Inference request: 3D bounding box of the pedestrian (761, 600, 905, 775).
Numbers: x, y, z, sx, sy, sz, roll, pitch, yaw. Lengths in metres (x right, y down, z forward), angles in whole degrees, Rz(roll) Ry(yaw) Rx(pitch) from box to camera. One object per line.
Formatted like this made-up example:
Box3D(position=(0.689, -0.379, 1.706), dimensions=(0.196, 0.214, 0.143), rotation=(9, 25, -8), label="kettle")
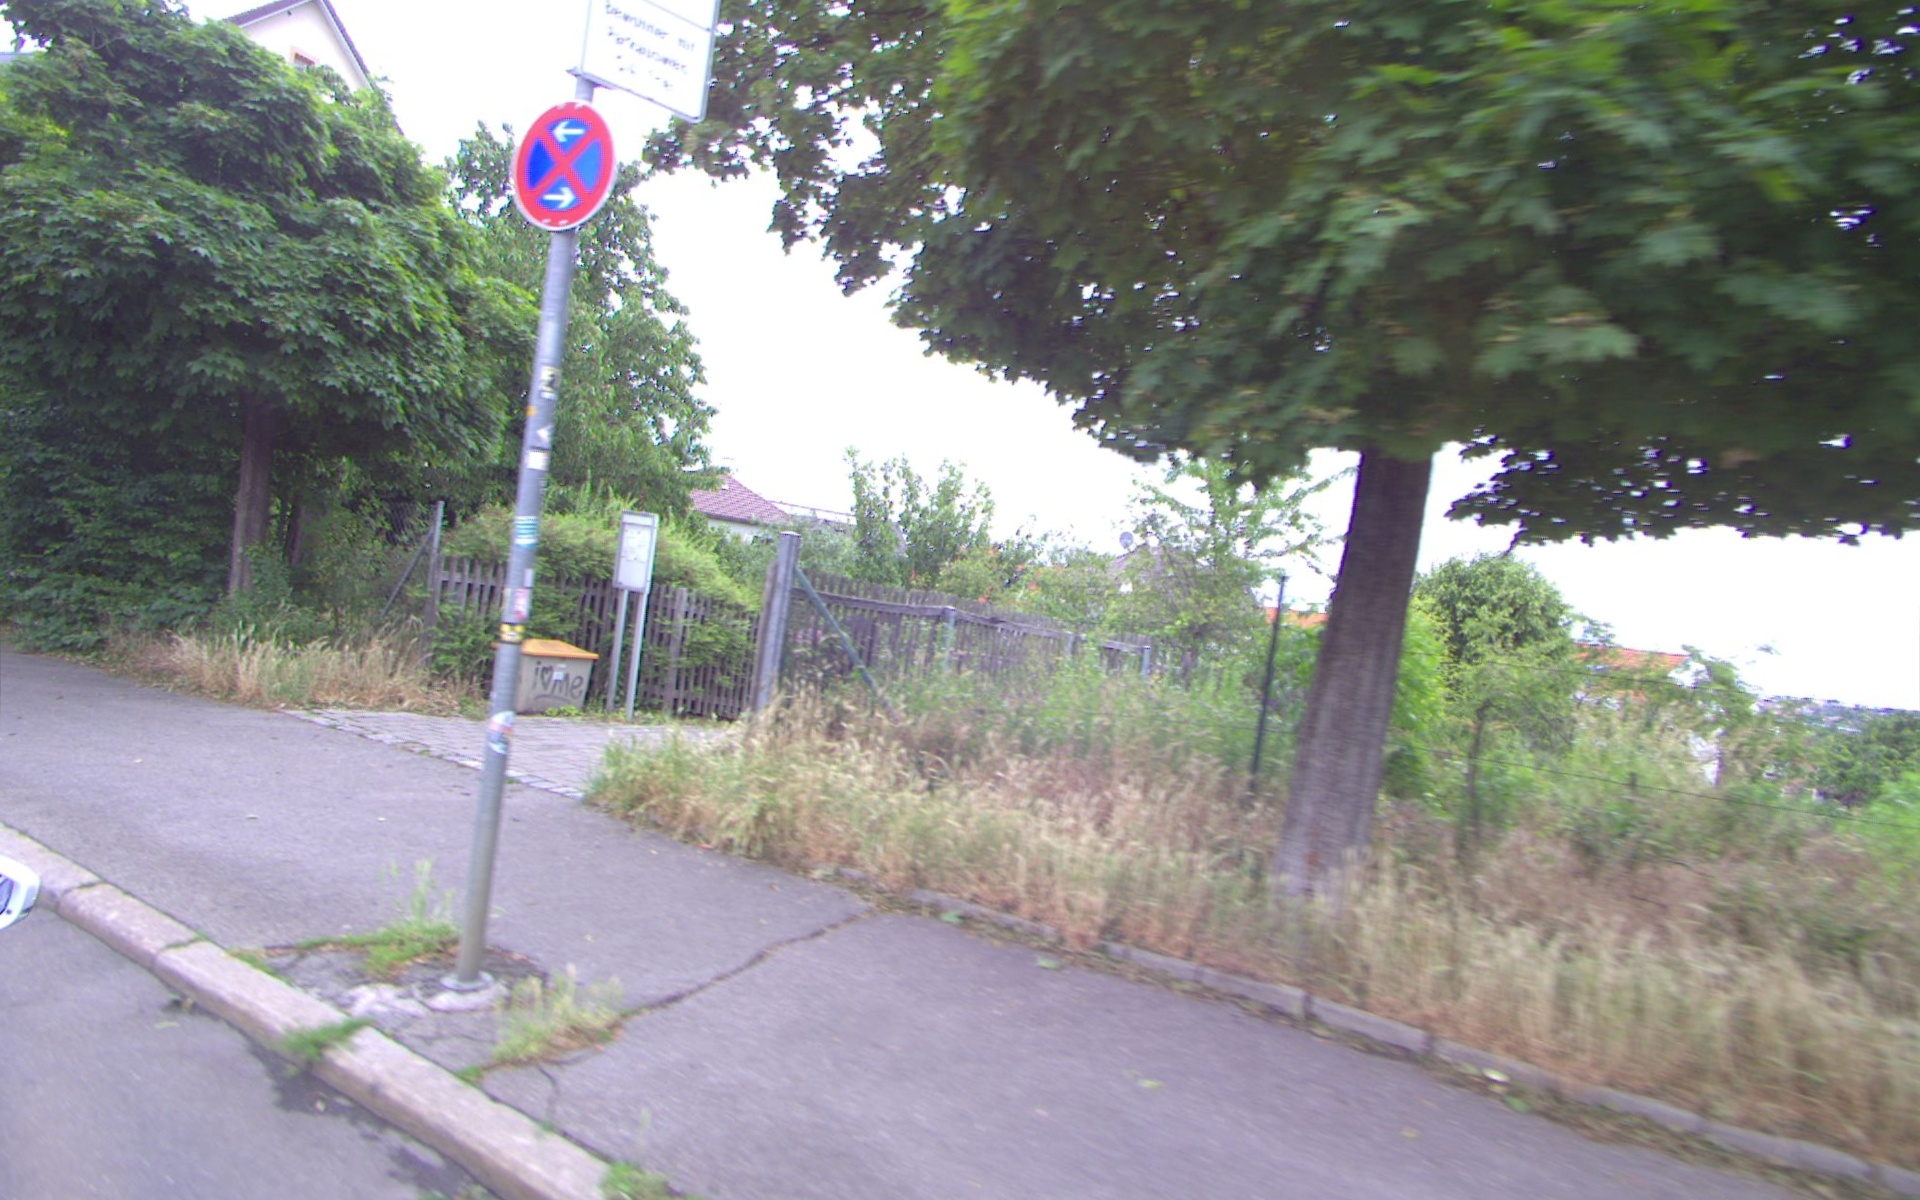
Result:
Box3D(position=(-1.068, 0.718, 8.502), dimensions=(0.794, 1.325, 0.746), rotation=(6, 0, 31), label="pedestrian")
